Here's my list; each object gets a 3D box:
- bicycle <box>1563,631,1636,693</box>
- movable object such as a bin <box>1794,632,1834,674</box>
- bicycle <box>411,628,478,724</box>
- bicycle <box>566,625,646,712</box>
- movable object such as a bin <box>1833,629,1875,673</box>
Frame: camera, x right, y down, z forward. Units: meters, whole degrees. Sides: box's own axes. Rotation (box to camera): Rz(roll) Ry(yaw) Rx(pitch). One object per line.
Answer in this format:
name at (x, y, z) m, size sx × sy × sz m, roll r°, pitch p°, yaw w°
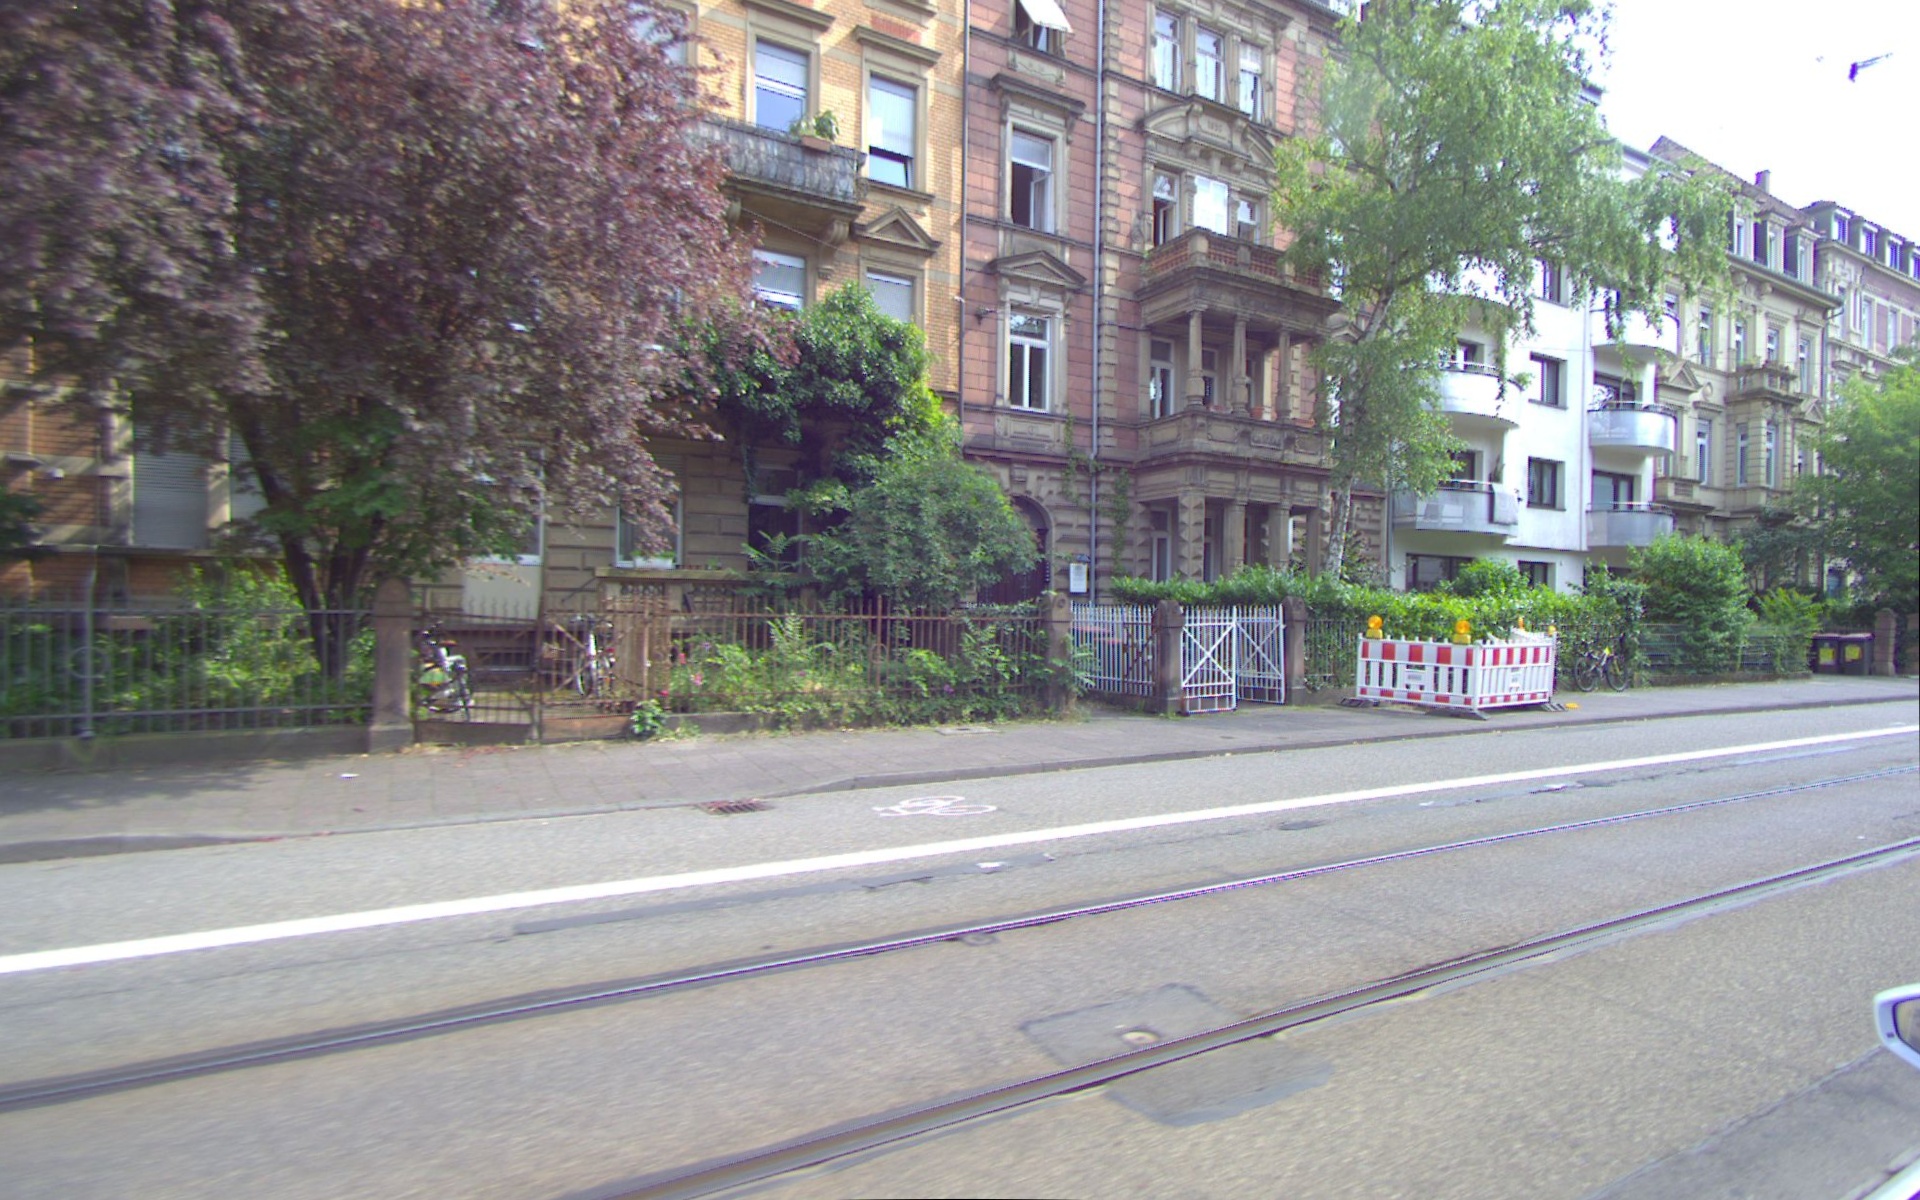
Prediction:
bicycle at (12.383, 1.175, 19.425) m, size 1.798 × 1.152 × 0.410 m, roll 1°, pitch 0°, yaw -31°
movable object such as a bin at (23.586, 1.451, 27.732) m, size 0.726 × 1.122 × 0.663 m, roll 1°, pitch 0°, yaw -33°
bicycle at (-5.986, 0.829, 11.617) m, size 0.579 × 0.949 × 2.117 m, roll 1°, pitch 0°, yaw -30°
bicycle at (-4.515, 0.824, 12.726) m, size 0.579 × 0.949 × 2.117 m, roll 1°, pitch 0°, yaw -30°
movable object such as a bin at (23.970, 1.359, 26.933) m, size 0.726 × 1.122 × 0.663 m, roll 1°, pitch 0°, yaw -33°
